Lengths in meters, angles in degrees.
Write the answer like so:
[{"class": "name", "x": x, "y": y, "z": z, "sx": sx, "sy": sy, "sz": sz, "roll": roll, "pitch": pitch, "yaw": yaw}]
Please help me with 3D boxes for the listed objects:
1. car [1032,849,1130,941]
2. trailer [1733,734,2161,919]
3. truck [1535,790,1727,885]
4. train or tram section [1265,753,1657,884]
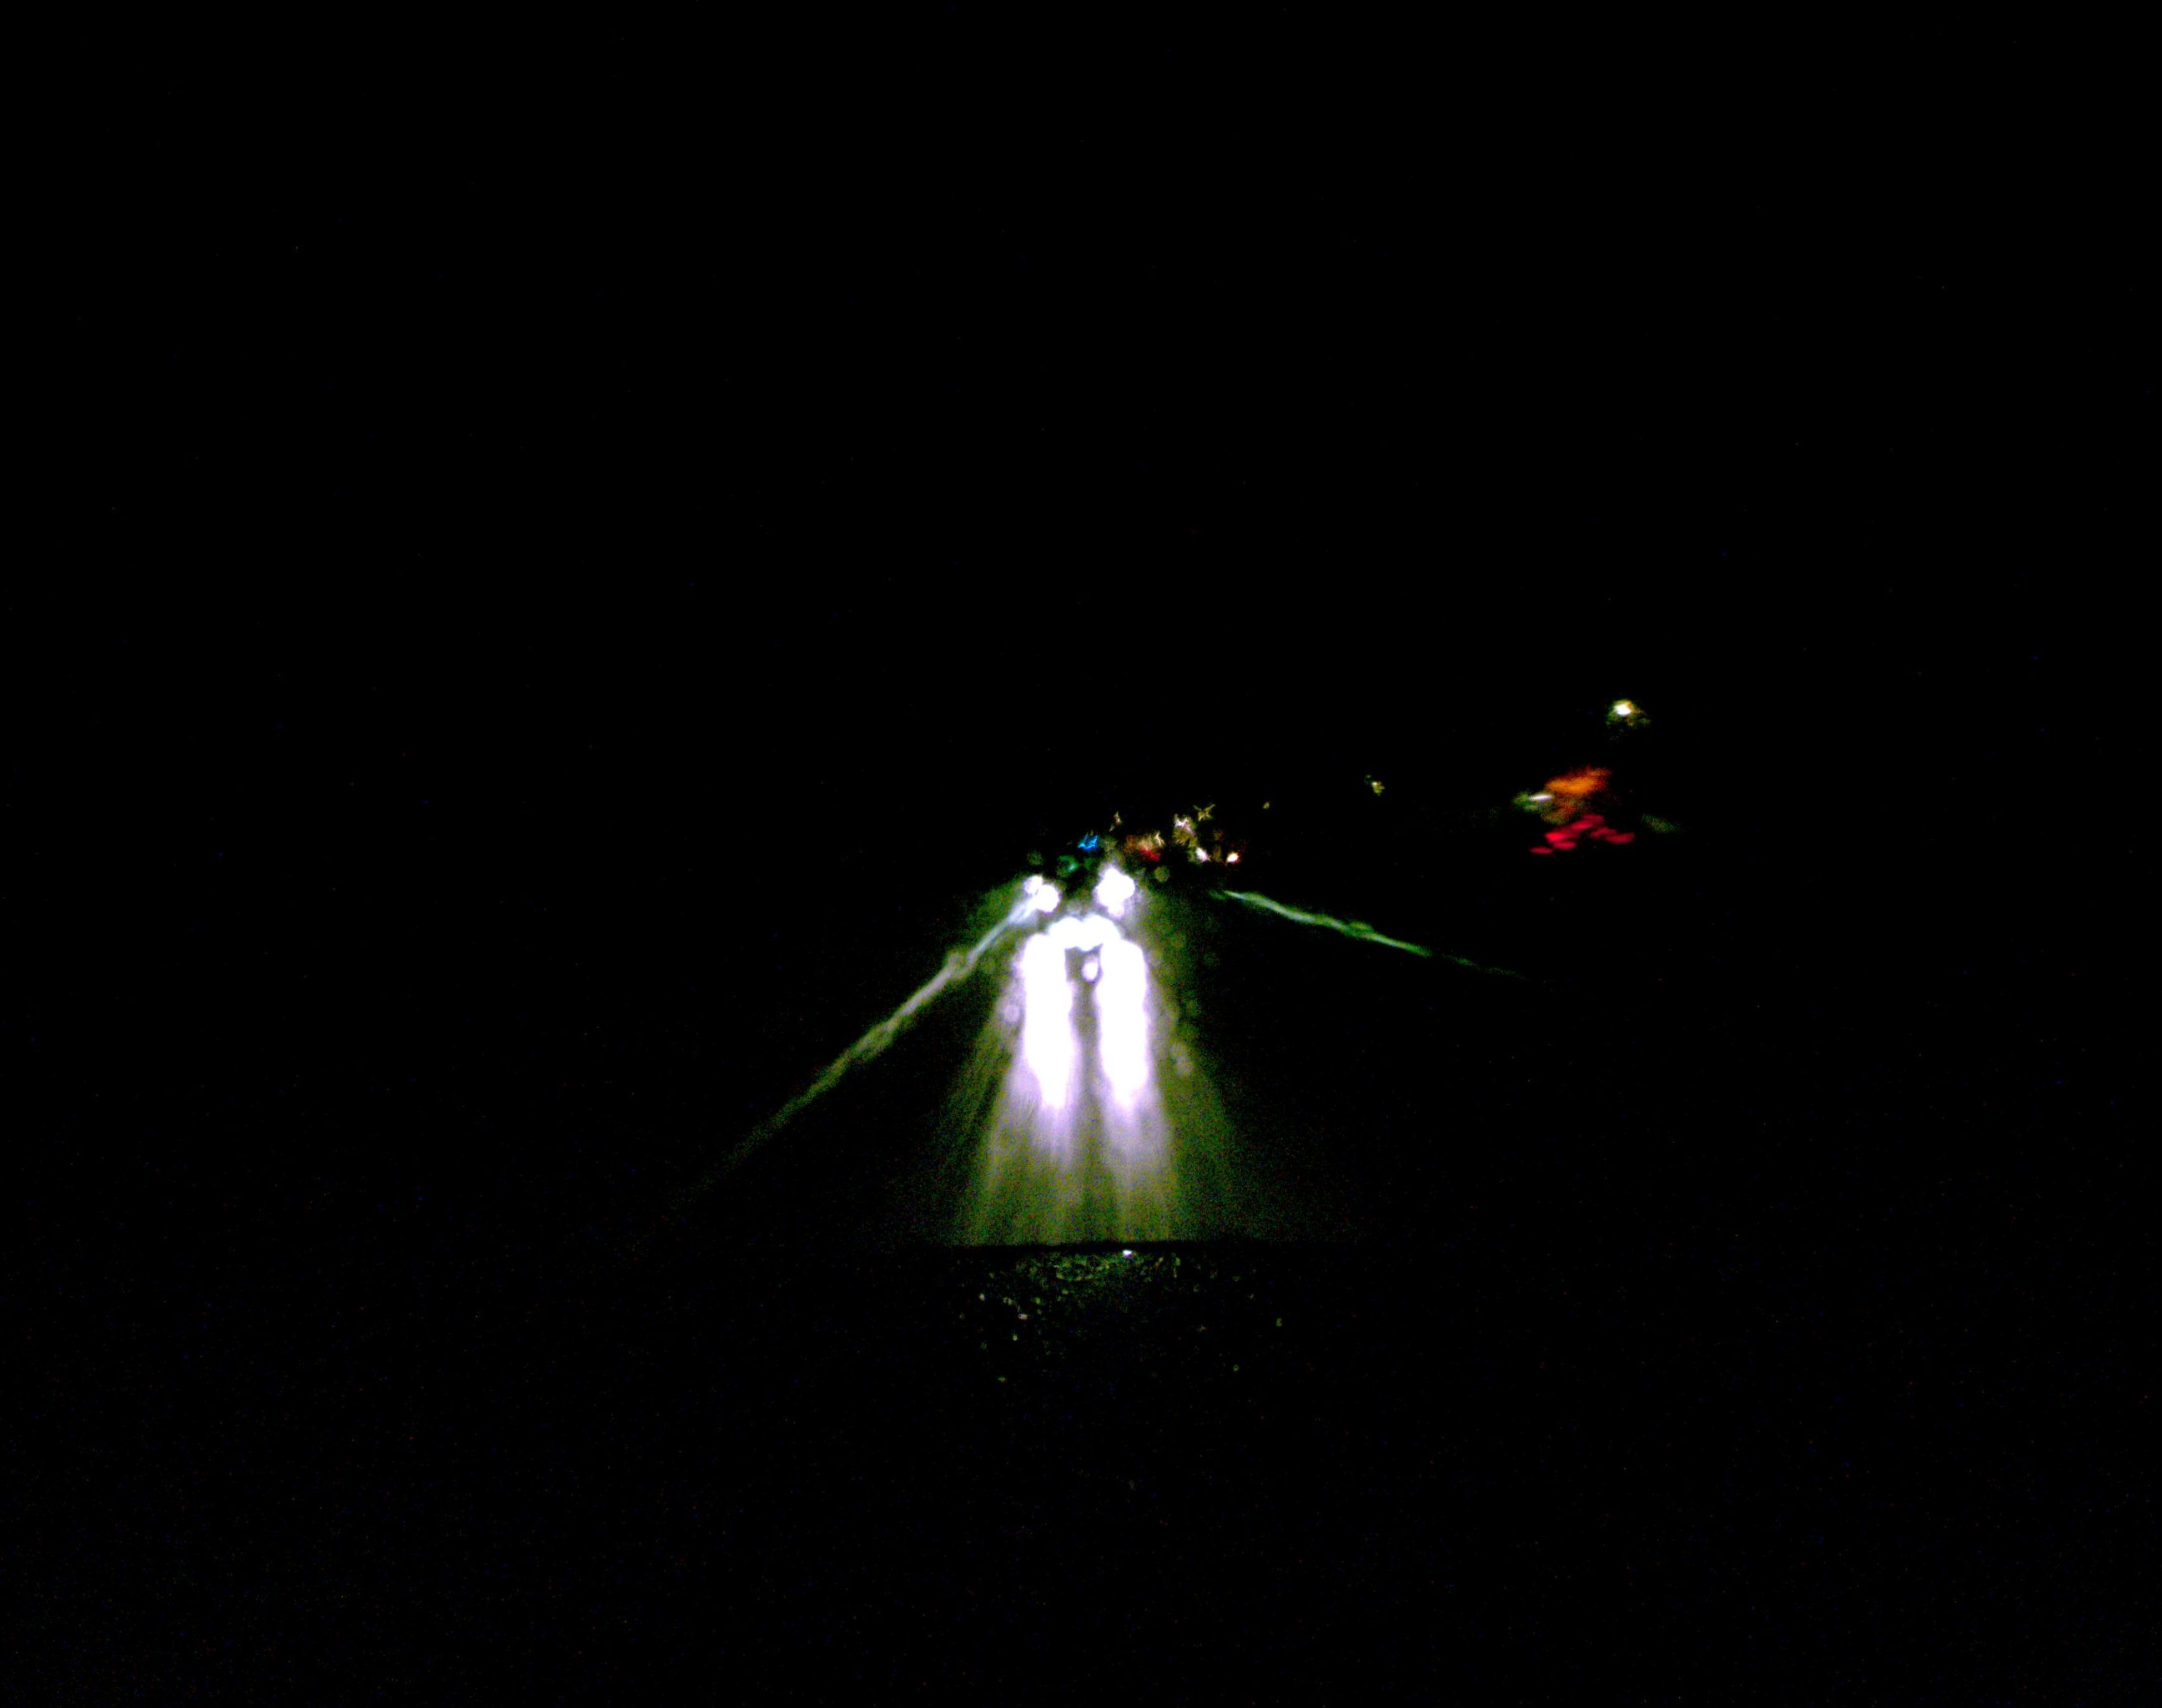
[{"class": "car", "x": 0.013, "y": 0.793, "z": 16.640, "sx": 1.791, "sy": 1.684, "sz": 4.219, "roll": -3, "pitch": 0, "yaw": 0}, {"class": "trailer", "x": 30.999, "y": -0.925, "z": 26.292, "sx": 3.981, "sy": 4.984, "sz": 14.832, "roll": -3, "pitch": 1, "yaw": 0}, {"class": "truck", "x": 30.784, "y": -0.909, "z": 43.420, "sx": 3.448, "sy": 4.583, "sz": 10.210, "roll": -3, "pitch": 1, "yaw": 0}, {"class": "train or tram section", "x": 15.887, "y": -1.356, "z": 41.331, "sx": 2.703, "sy": 3.793, "sz": 37.138, "roll": -3, "pitch": 1, "yaw": 0}]
